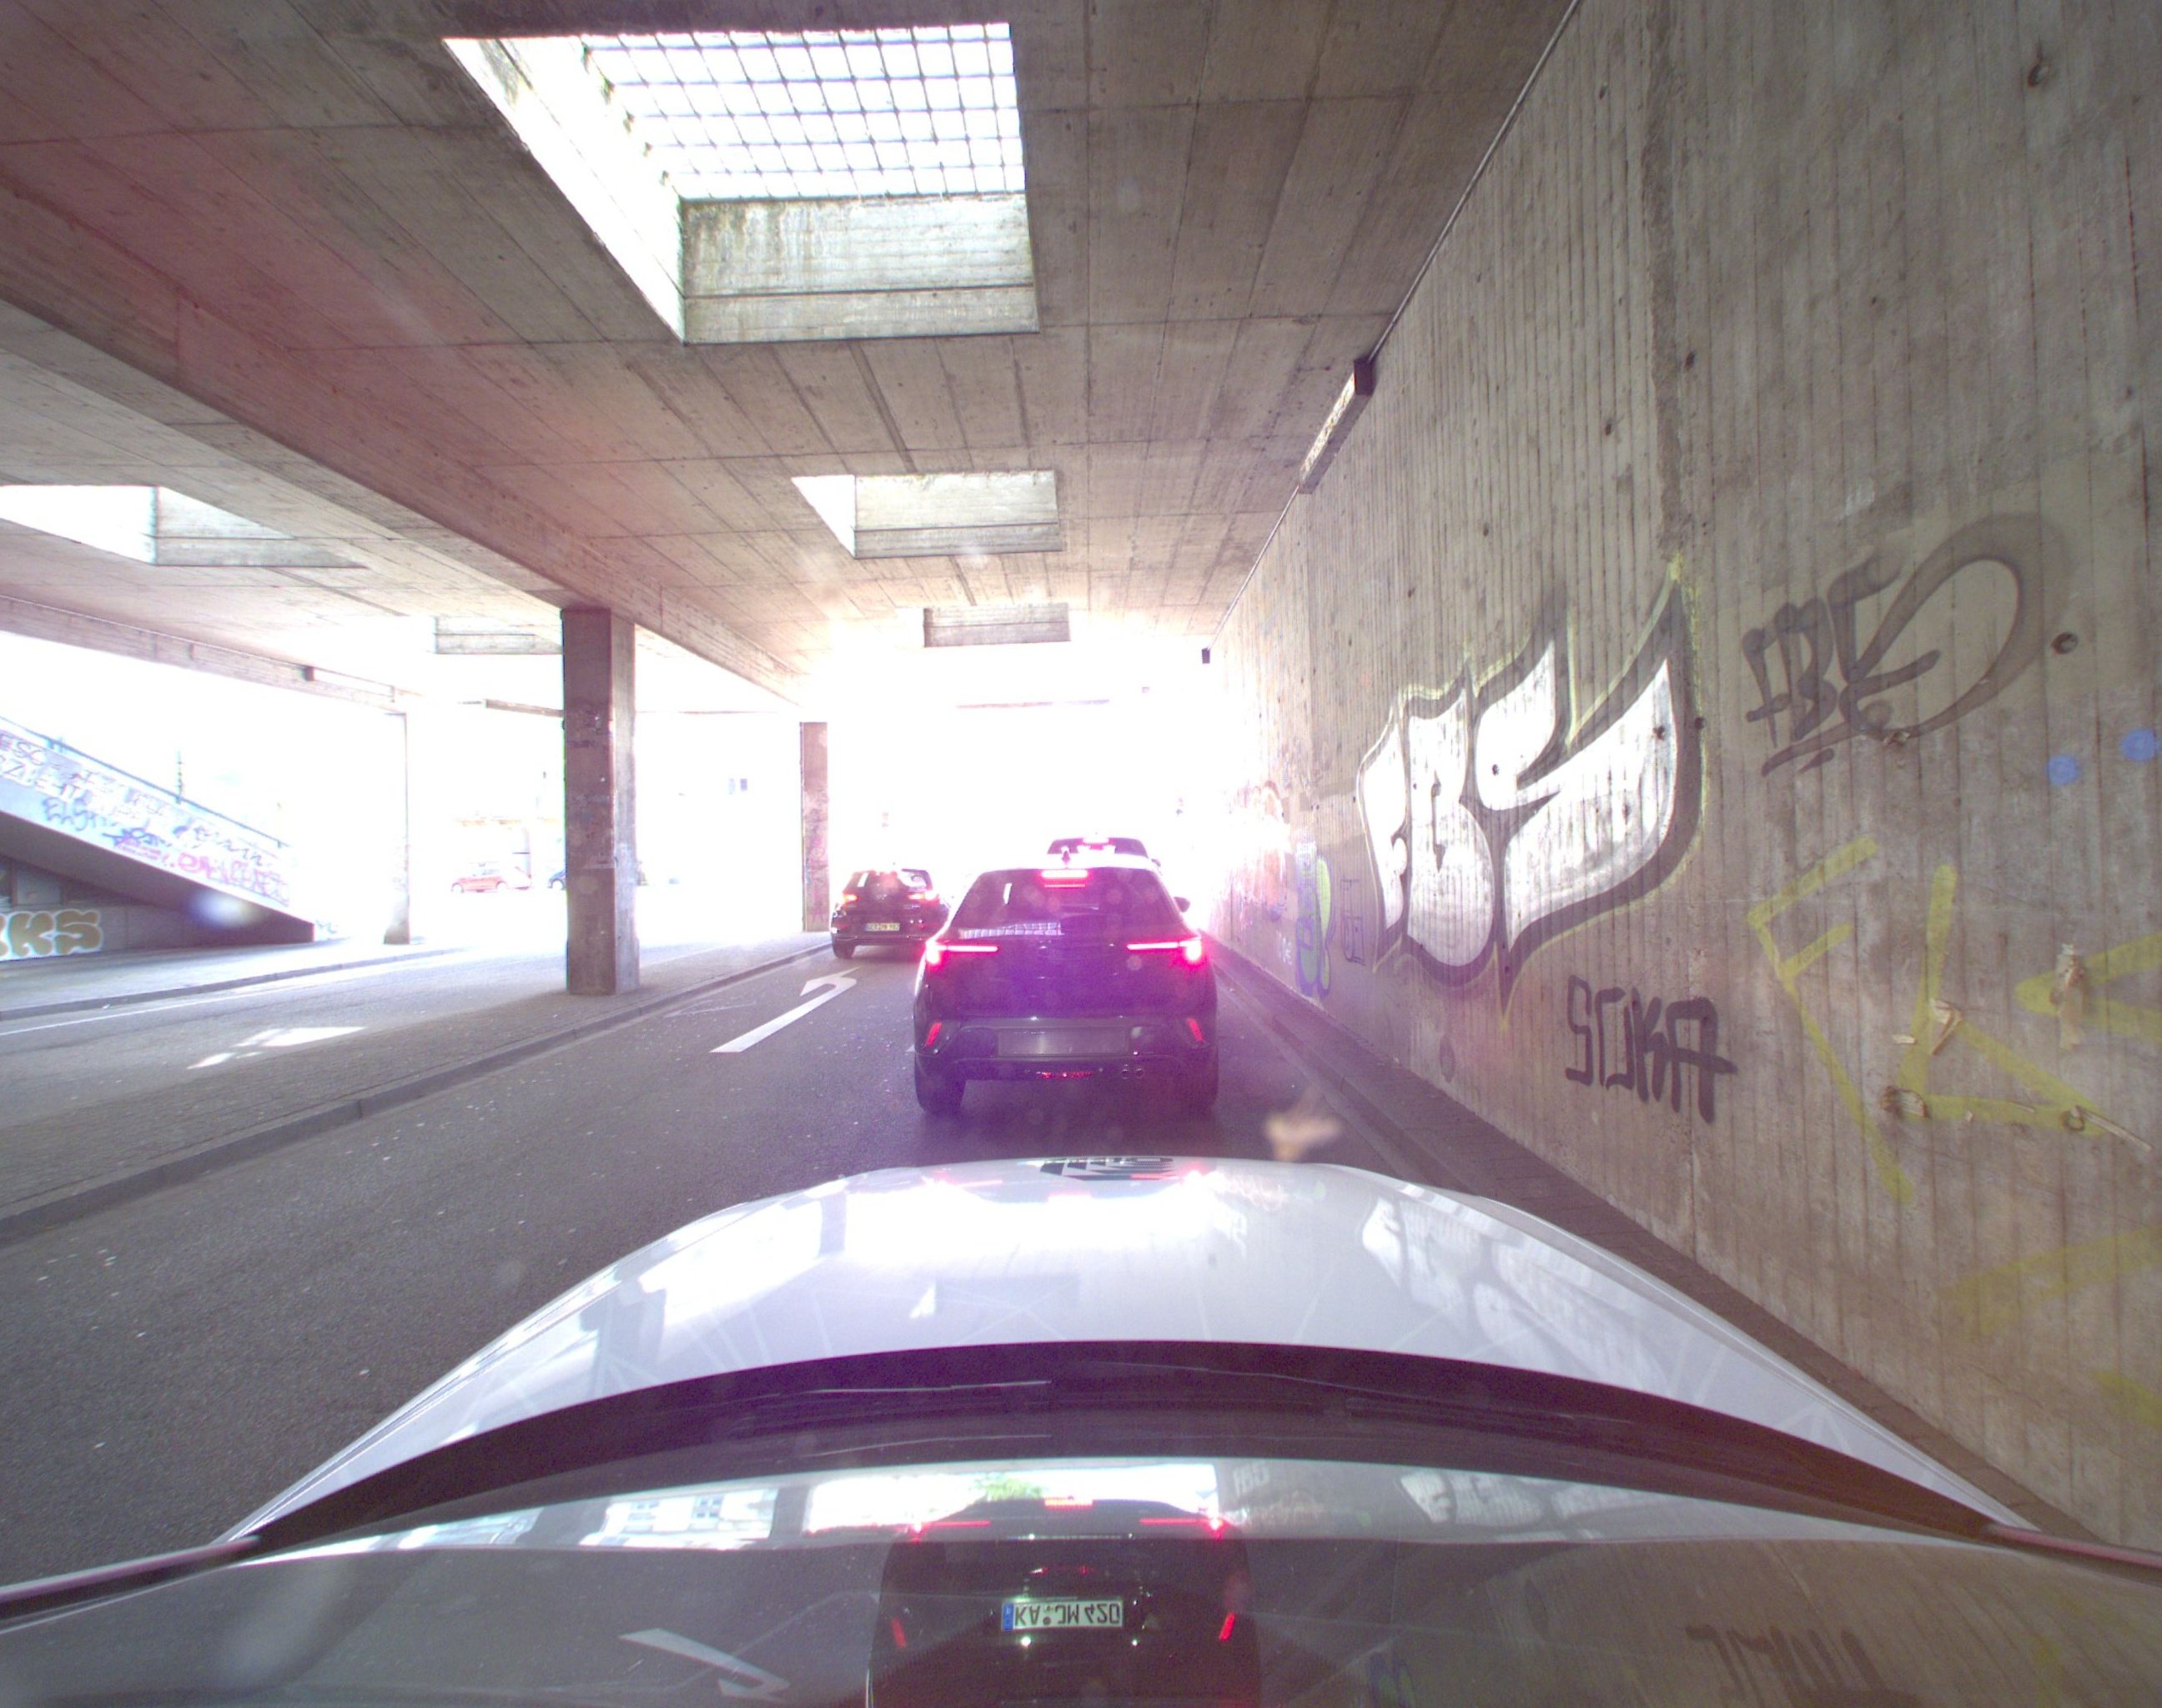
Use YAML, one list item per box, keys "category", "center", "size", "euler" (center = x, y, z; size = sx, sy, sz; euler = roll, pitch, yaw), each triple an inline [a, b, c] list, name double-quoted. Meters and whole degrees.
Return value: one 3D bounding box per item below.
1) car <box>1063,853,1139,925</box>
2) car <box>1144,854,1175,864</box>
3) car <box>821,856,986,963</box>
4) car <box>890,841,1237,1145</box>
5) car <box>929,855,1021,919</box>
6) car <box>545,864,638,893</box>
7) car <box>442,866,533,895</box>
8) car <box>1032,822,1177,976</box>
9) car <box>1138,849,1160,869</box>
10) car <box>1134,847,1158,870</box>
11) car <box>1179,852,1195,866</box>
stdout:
- category: "car"
  center: [0.494, 0.755, 19.387]
  size: [1.603, 1.513, 4.055]
  euler: [-1, 0, 2]
- category: "car"
  center: [12.844, 0.848, 133.692]
  size: [4.814, 1.667, 1.812]
  euler: [0, -1, -19]
- category: "car"
  center: [-2.747, 0.796, 13.488]
  size: [1.755, 1.480, 3.846]
  euler: [-1, 0, 2]
- category: "car"
  center: [-0.026, 0.720, 6.229]
  size: [1.755, 1.531, 4.091]
  euler: [-1, 0, 2]
- category: "car"
  center: [-2.658, 0.792, 21.216]
  size: [1.755, 1.480, 3.846]
  euler: [-1, 0, 2]
- category: "car"
  center: [-27.171, 1.341, 45.295]
  size: [4.096, 1.475, 1.737]
  euler: [-1, -1, 0]
- category: "car"
  center: [-32.927, 1.469, 45.272]
  size: [3.748, 1.475, 1.749]
  euler: [-1, -1, 0]
- category: "car"
  center: [0.358, 0.560, 12.169]
  size: [1.755, 1.883, 4.148]
  euler: [-1, 0, 2]
- category: "car"
  center: [5.756, 0.416, 68.360]
  size: [1.745, 1.667, 3.950]
  euler: [0, -1, 6]
- category: "car"
  center: [4.968, 0.372, 62.256]
  size: [1.745, 1.667, 3.950]
  euler: [0, -1, 6]
- category: "car"
  center: [13.615, 0.652, 104.815]
  size: [1.742, 1.667, 3.956]
  euler: [-1, -1, 11]
